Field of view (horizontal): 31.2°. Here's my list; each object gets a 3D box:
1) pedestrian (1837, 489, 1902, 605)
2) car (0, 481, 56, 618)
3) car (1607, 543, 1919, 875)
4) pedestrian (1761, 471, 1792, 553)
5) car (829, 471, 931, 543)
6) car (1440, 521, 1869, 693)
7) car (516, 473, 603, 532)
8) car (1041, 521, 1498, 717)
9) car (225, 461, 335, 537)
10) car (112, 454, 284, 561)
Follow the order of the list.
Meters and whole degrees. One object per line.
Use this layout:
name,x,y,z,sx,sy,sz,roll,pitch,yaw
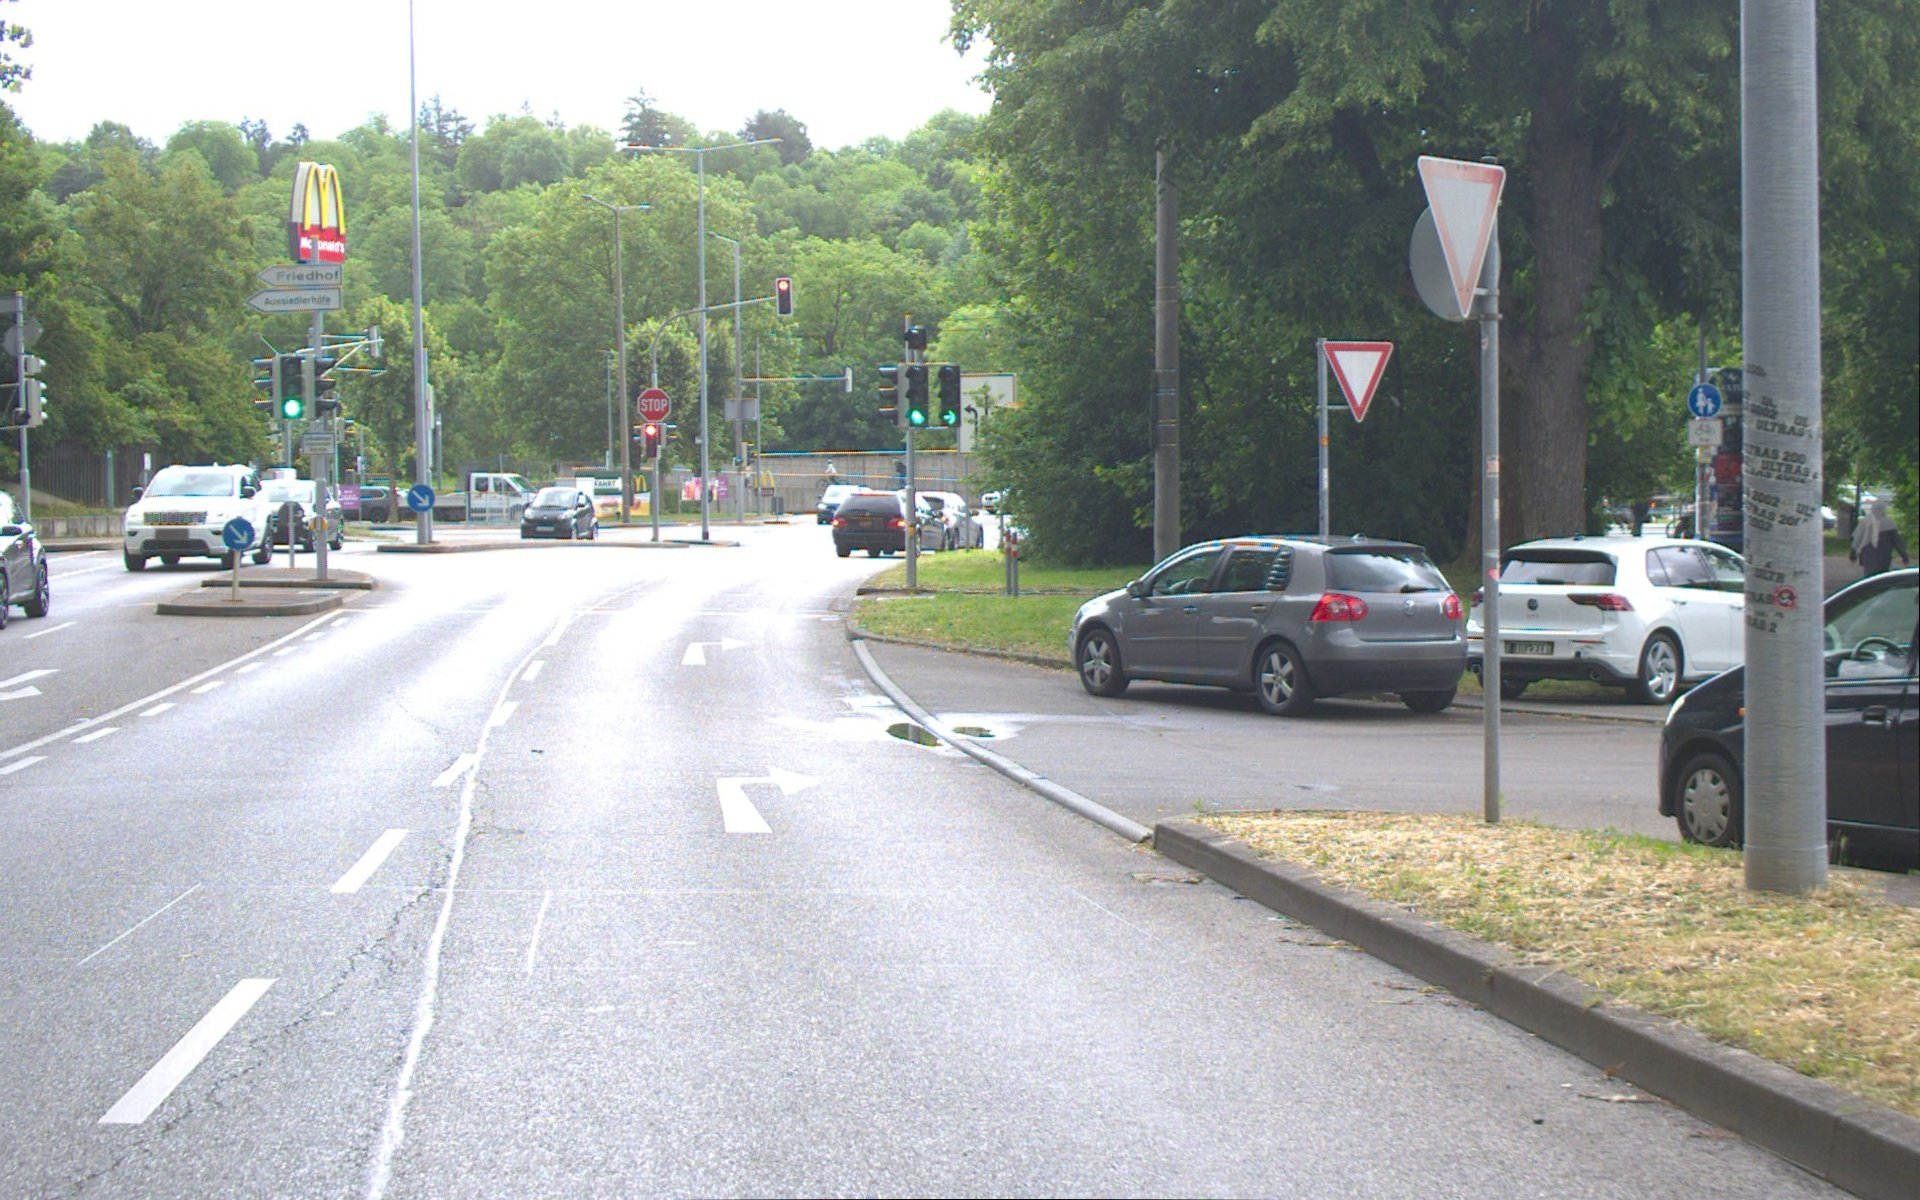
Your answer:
pedestrian,12.296,-0.725,46.491,0.683,1.546,0.743,0,2,1
car,-12.458,-0.602,42.208,1.796,1.581,4.416,-3,3,-5
car,4.720,0.481,15.966,1.568,1.399,3.495,-1,3,-27
pedestrian,15.329,-1.647,64.548,0.511,1.526,0.778,0,2,10
car,-1.736,-2.036,75.641,1.822,1.504,4.574,-1,1,4
car,6.276,0.011,30.788,1.763,1.376,4.251,2,3,44
car,-10.973,-2.692,94.302,1.569,1.521,3.188,0,3,8
car,2.577,0.101,29.581,1.728,1.424,4.113,-2,4,-33
car,-13.830,-2.078,70.038,1.568,1.377,3.951,-2,3,-2
car,-13.283,-1.657,60.206,1.911,1.757,4.753,-1,3,0
